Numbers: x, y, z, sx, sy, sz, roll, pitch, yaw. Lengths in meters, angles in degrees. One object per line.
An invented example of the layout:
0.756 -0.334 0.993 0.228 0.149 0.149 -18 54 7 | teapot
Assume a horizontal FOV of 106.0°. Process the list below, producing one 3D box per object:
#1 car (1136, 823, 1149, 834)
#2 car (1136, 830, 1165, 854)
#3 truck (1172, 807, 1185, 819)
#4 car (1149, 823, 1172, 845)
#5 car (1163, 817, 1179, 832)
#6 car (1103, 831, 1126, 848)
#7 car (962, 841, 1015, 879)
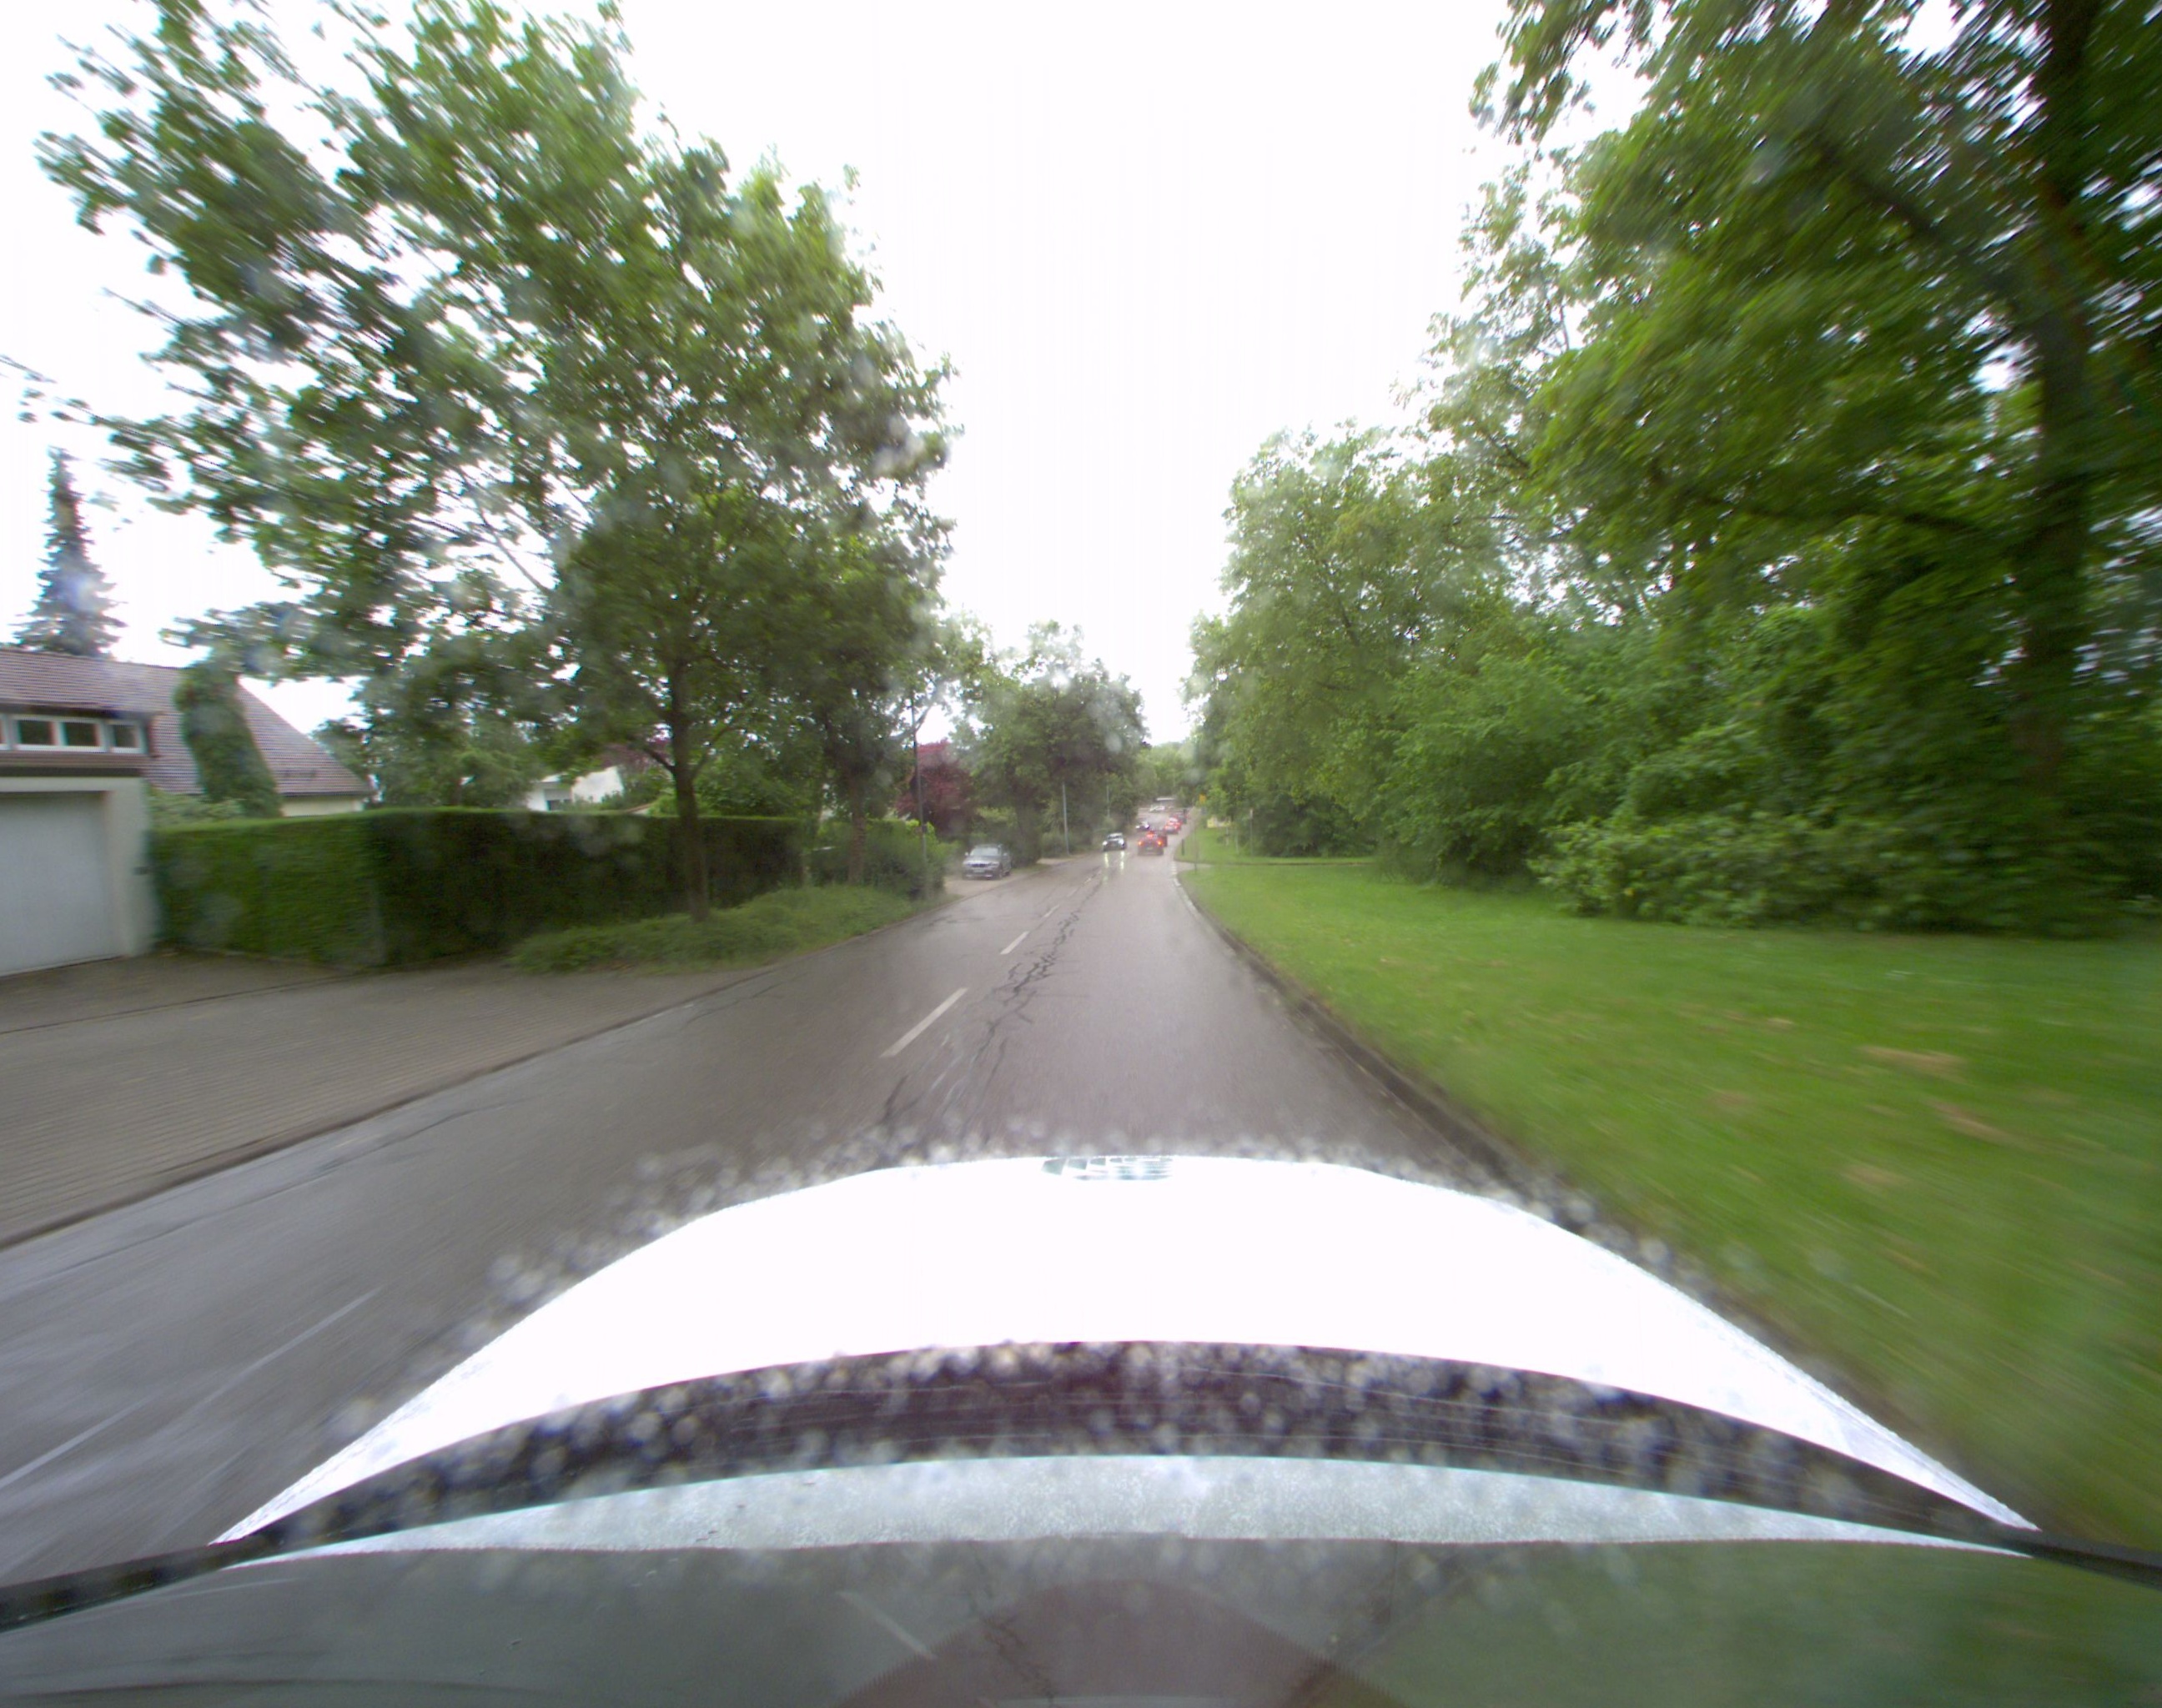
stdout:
9.253 -3.804 122.178 1.745 1.362 4.335 -4 3 7 | car
5.018 -0.895 58.349 1.788 1.514 3.764 0 4 9 | car
18.899 -7.999 157.699 2.403 2.004 5.163 -3 4 7 | truck
7.361 -1.867 75.225 1.844 1.784 4.012 -3 3 9 | car
12.038 -3.940 108.943 1.844 1.784 4.012 -3 3 9 | car
3.003 -1.267 71.943 1.681 1.396 4.498 -3 1 5 | car
-4.197 0.225 37.664 1.656 1.542 4.290 1 2 4 | car
